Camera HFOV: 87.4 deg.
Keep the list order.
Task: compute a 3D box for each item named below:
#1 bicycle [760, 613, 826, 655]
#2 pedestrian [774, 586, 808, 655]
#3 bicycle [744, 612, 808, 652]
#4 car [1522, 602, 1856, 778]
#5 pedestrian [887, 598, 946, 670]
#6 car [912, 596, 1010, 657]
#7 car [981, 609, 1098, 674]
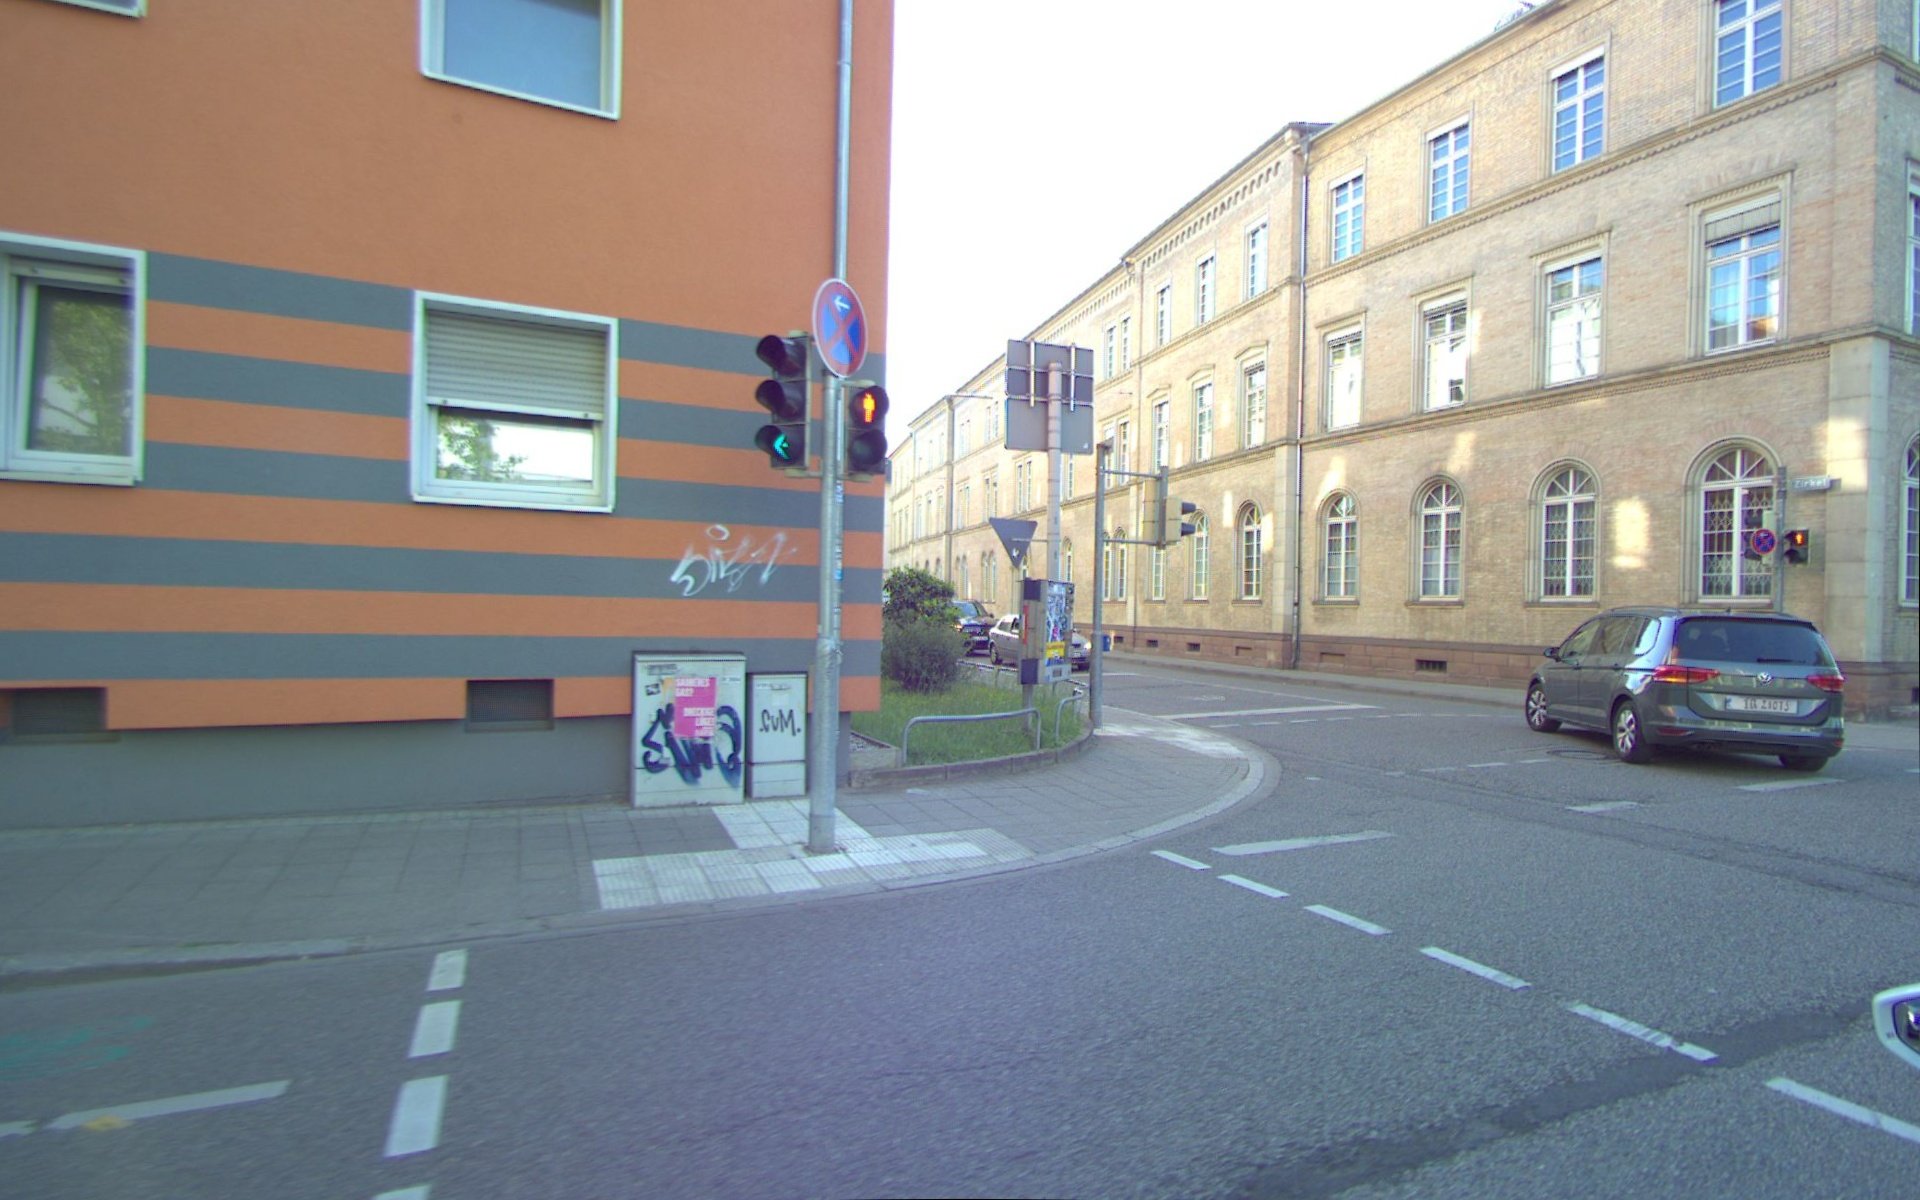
[{"bbox_3d":[-4.730,0.962,28.471,1.733,1.160,0.647,1,0,-24],"label":"bicycle"},{"bbox_3d":[-4.725,0.567,28.100,0.707,1.879,0.870,1,0,6],"label":"pedestrian"},{"bbox_3d":[-5.435,0.954,29.690,1.733,1.160,0.647,1,0,-24],"label":"bicycle"},{"bbox_3d":[7.997,0.856,11.520,1.732,1.628,4.002,1,0,14],"label":"car"},{"bbox_3d":[-0.994,0.757,22.797,1.000,1.593,1.074,2,0,-23],"label":"pedestrian"},{"bbox_3d":[-0.071,0.815,33.238,1.875,1.859,5.076,-1,0,-17],"label":"car"},{"bbox_3d":[1.986,1.024,26.396,1.718,1.506,4.122,-1,0,-17],"label":"car"}]
